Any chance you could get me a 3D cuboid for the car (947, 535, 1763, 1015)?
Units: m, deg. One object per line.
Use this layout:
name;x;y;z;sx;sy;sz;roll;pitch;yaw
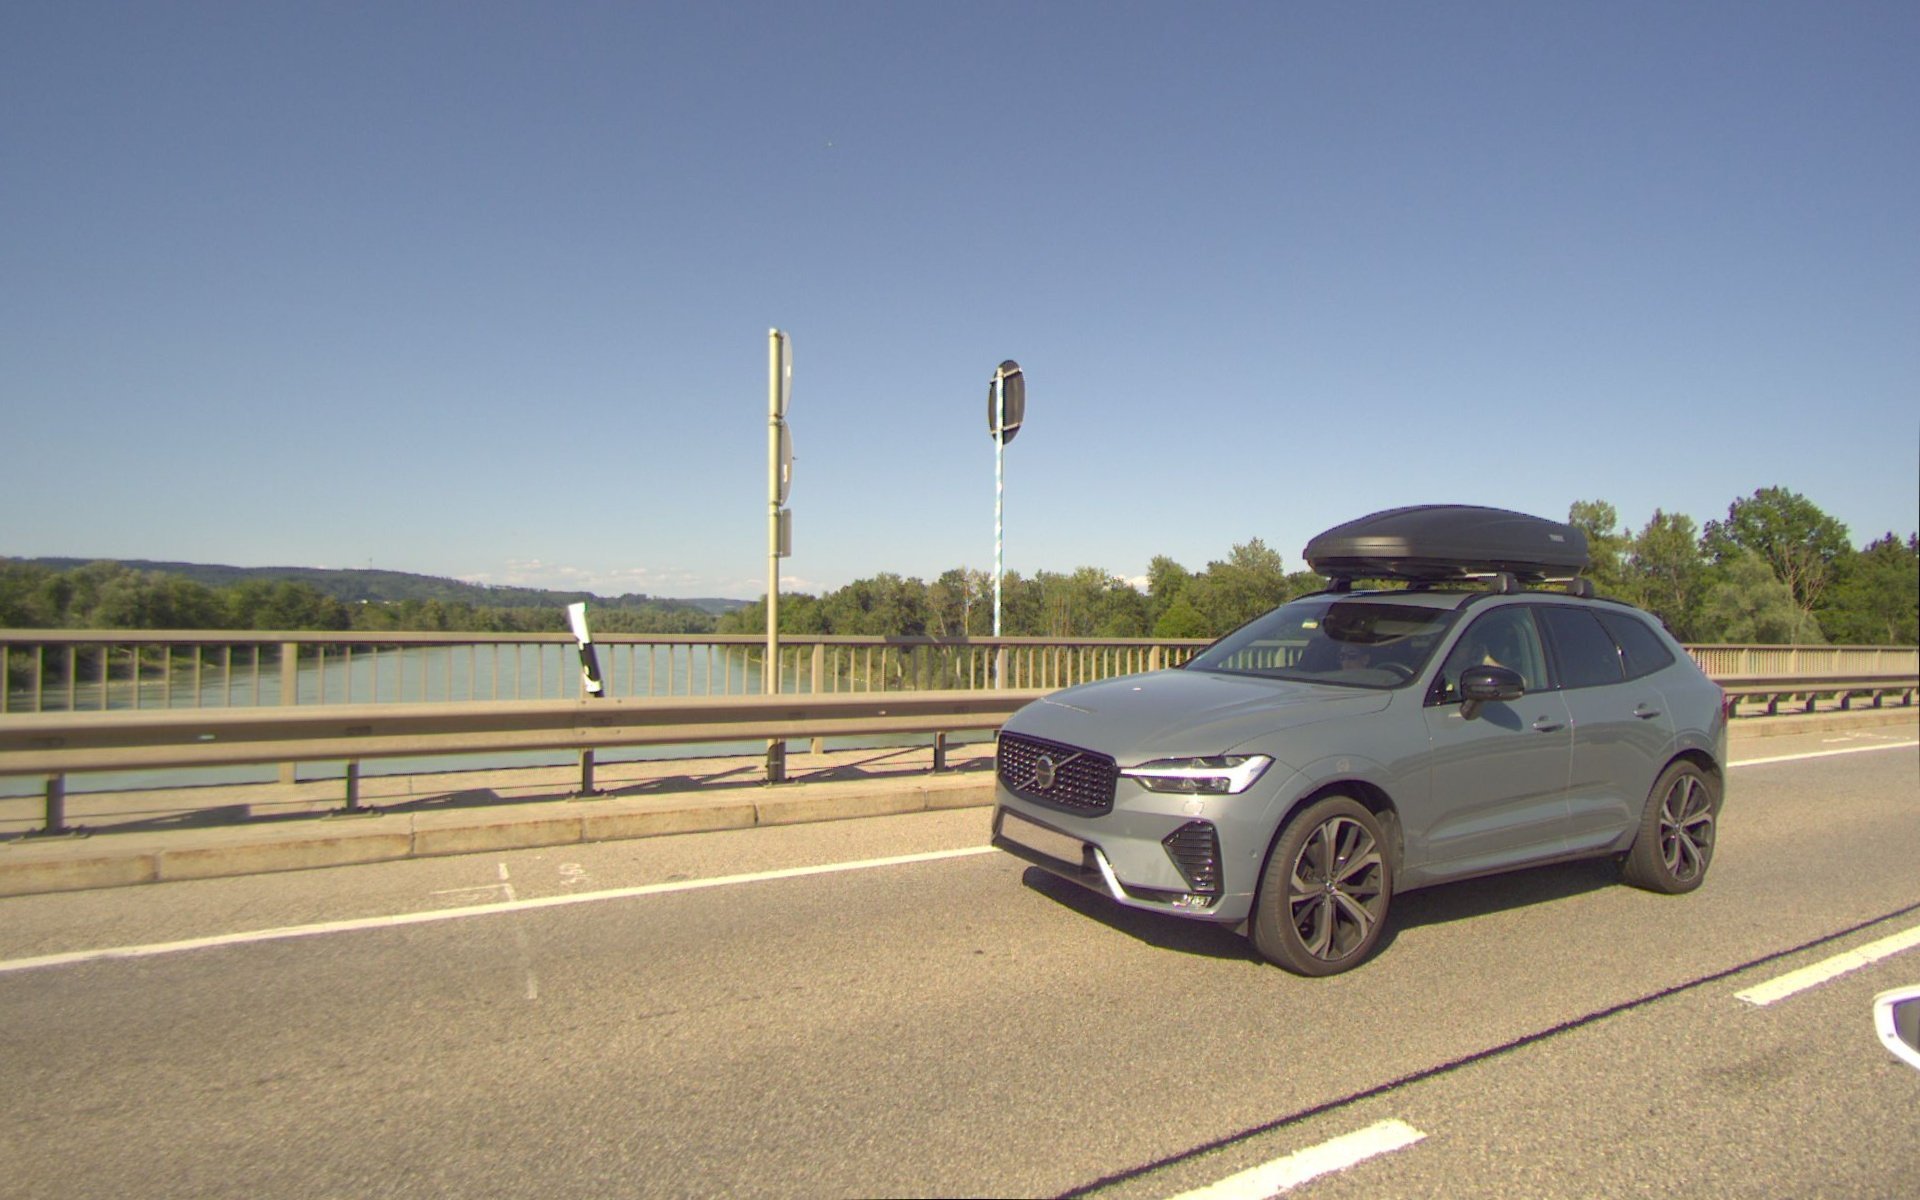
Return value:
car;2.349;0.688;5.605;4.513;1.745;1.845;2;0;-31
